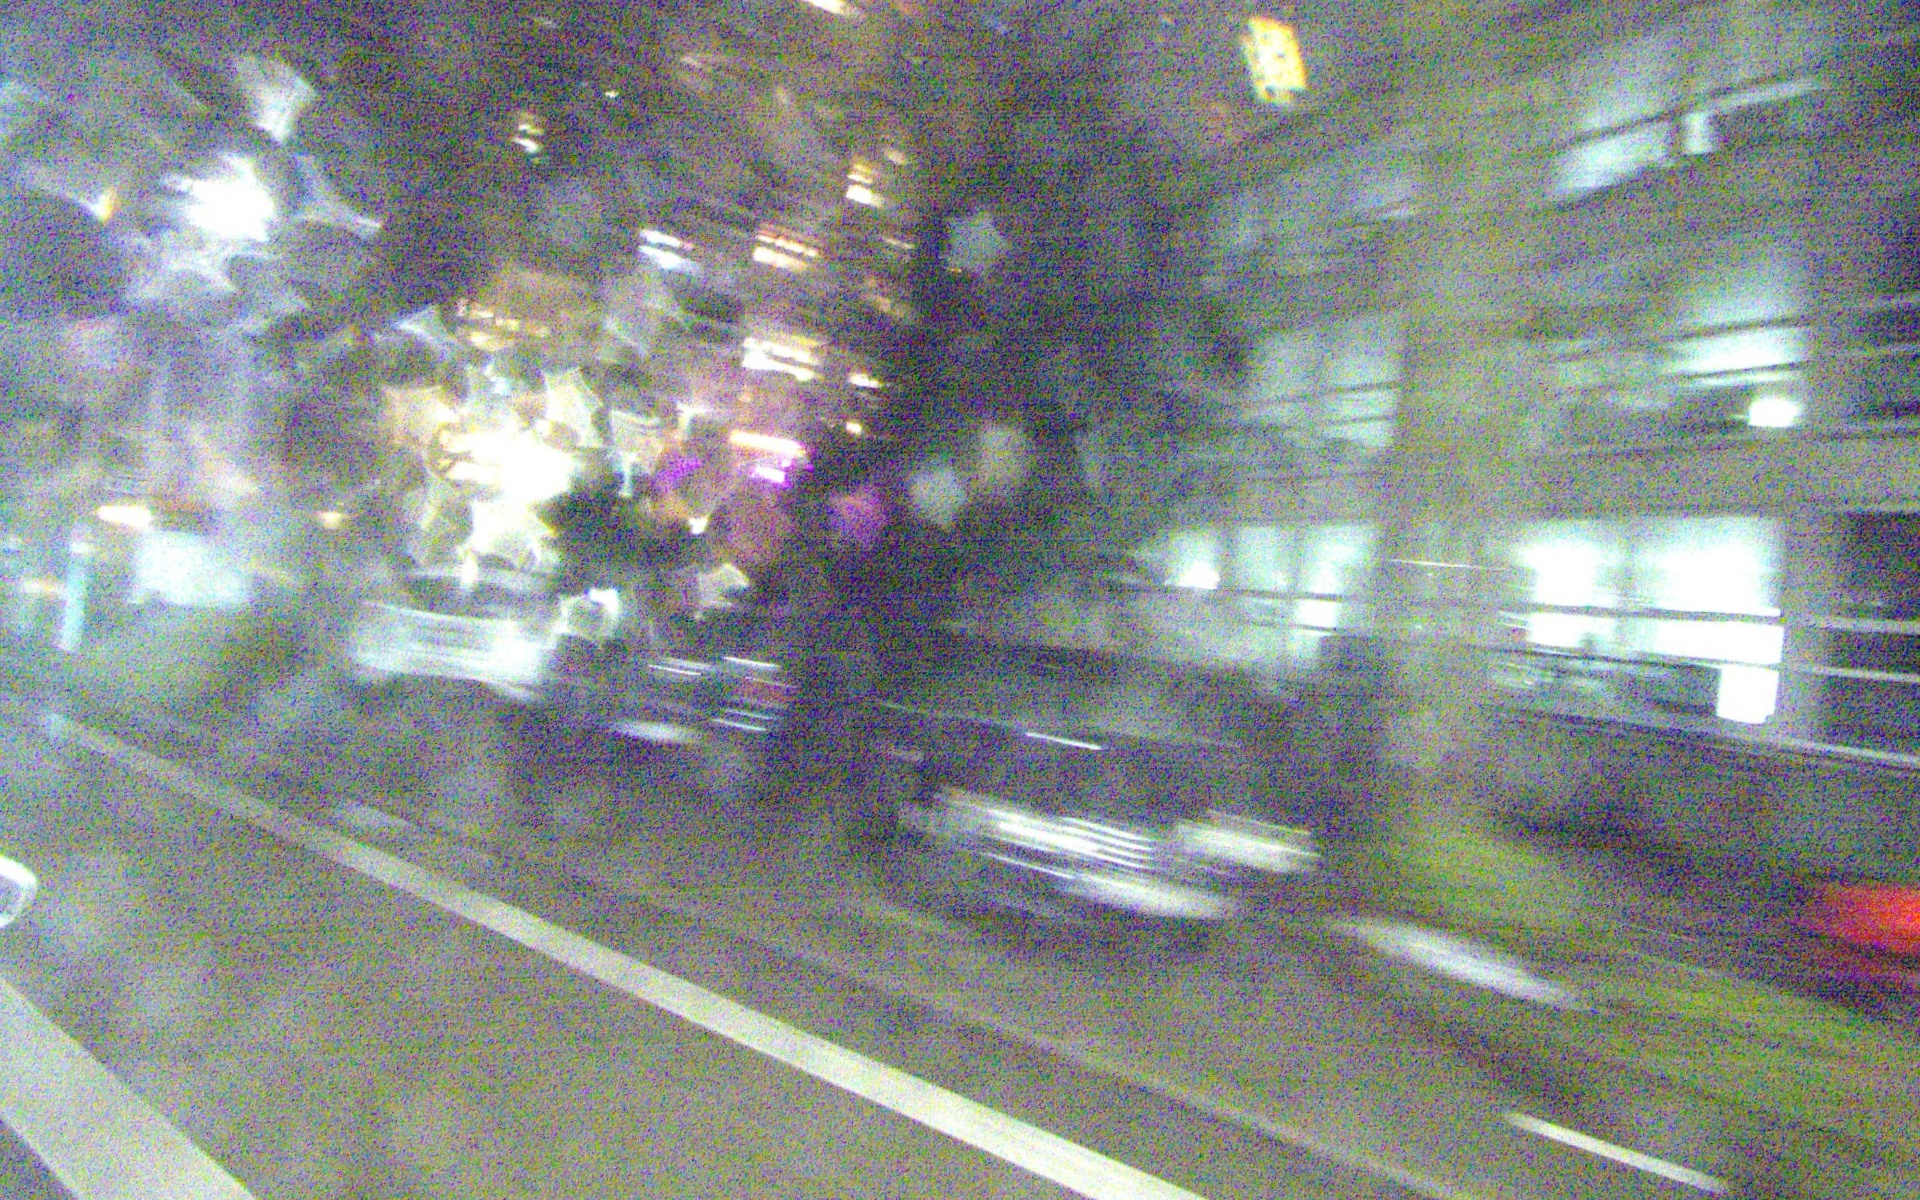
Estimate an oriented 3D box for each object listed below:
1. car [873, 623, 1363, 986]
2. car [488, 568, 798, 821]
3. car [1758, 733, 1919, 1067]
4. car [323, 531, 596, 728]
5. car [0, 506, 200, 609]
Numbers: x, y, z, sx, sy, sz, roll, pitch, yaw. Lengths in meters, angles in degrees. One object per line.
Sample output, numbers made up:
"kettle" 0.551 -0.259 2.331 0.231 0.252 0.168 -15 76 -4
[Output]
"car" 0.555 0.973 6.528 1.755 1.433 4.252 7 -2 -9
"car" -2.354 0.632 8.380 1.624 1.490 3.569 7 -1 -6
"car" 5.776 1.582 3.688 1.638 1.498 4.174 9 -3 -16
"car" -5.019 0.295 10.664 1.685 1.529 3.897 7 -2 -15
"car" -15.185 -0.703 16.985 1.652 1.485 4.339 7 -2 -6
